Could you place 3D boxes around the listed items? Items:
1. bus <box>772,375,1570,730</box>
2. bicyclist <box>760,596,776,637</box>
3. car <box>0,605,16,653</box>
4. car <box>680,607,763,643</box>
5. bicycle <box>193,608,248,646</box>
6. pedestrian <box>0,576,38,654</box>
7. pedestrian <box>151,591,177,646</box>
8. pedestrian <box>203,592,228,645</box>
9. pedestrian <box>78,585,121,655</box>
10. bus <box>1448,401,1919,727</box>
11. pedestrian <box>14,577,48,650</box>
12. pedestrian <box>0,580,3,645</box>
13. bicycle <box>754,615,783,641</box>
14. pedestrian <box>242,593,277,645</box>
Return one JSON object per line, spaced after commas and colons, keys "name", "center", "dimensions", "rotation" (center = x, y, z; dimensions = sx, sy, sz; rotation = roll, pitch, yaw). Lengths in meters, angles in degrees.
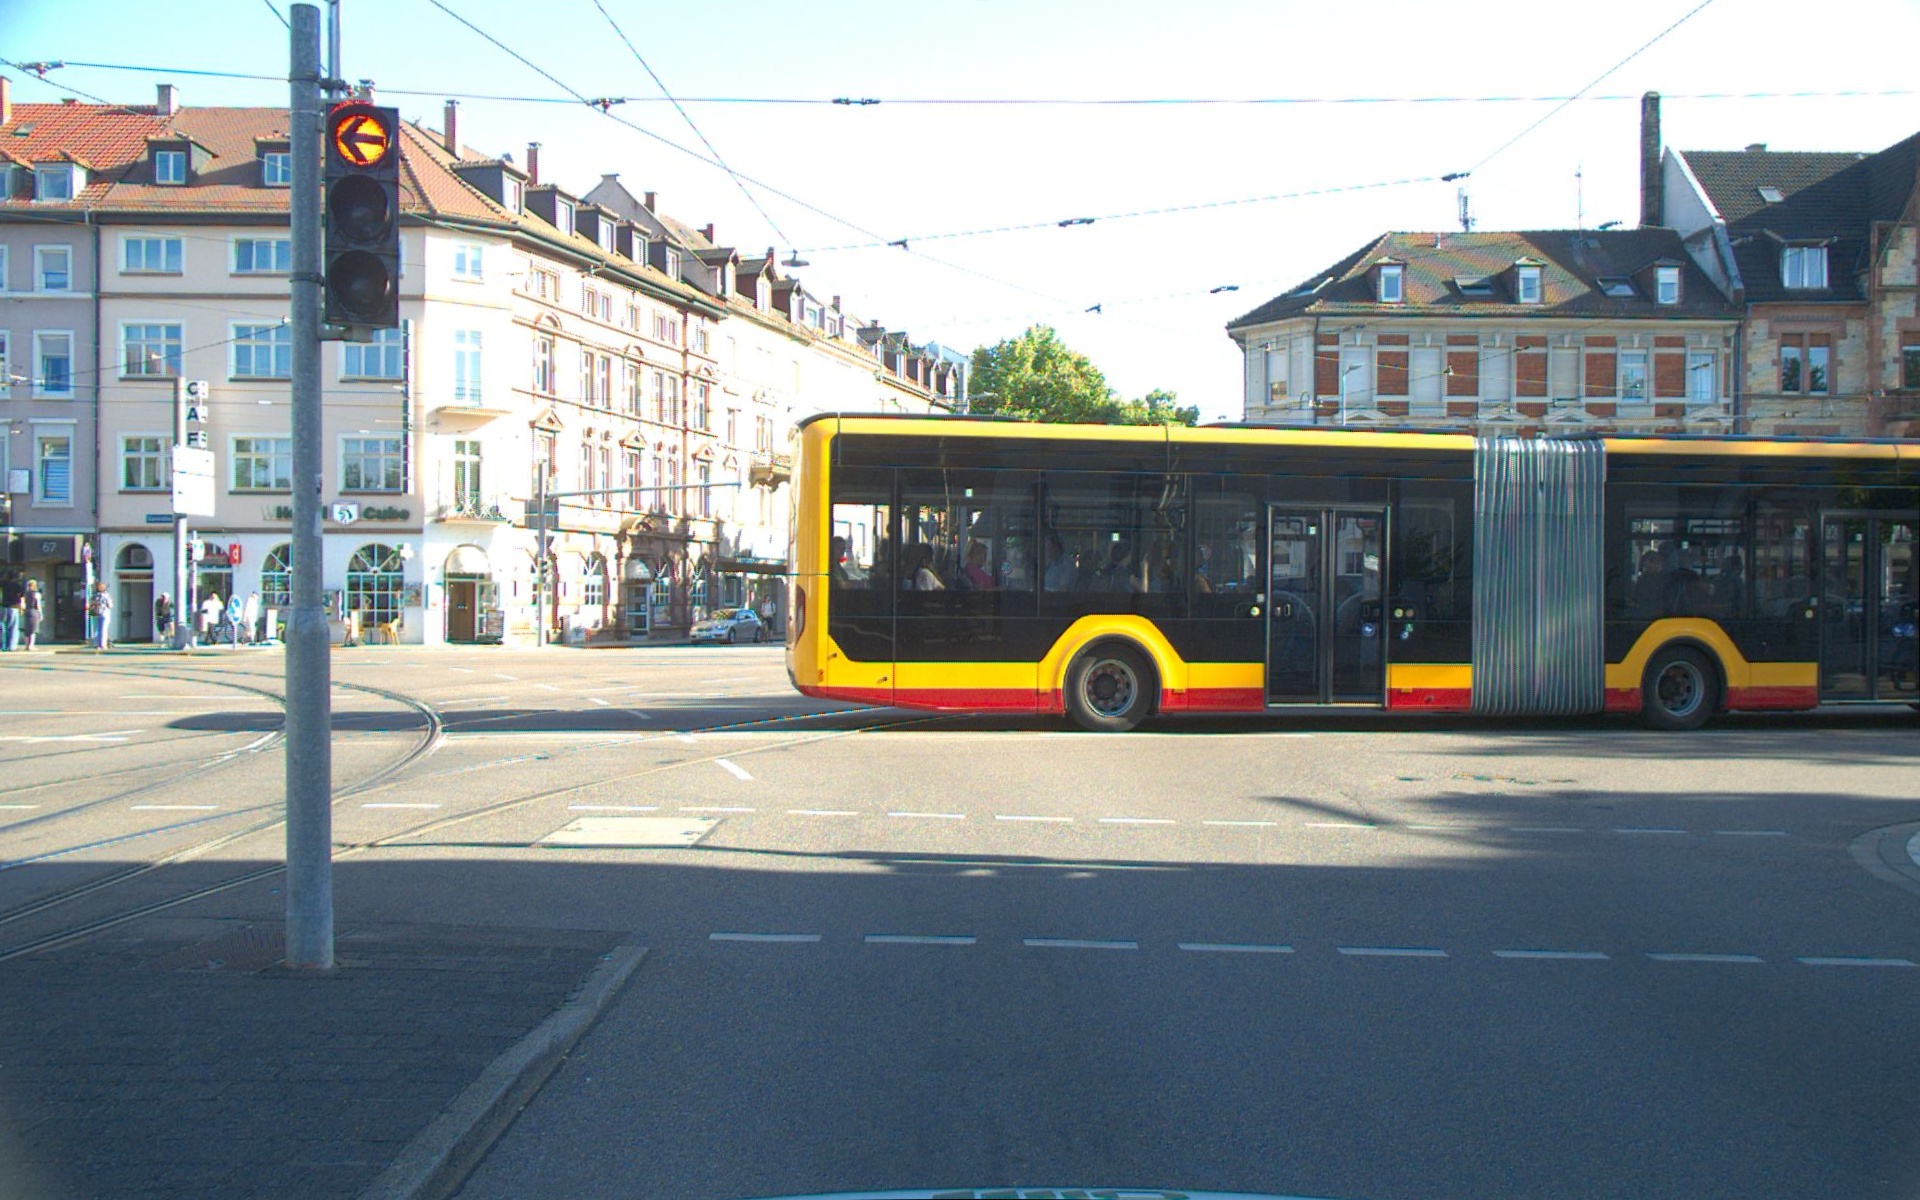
{"name": "bus", "center": [2.201, -0.450, 18.654], "dimensions": [8.454, 3.517, 2.782], "rotation": [1, 1, -9]}
{"name": "bicyclist", "center": [-7.545, 0.644, 65.065], "dimensions": [0.479, 1.629, 0.667], "rotation": [0, 0, 9]}
{"name": "car", "center": [-32.131, 0.894, 52.155], "dimensions": [3.651, 1.517, 1.818], "rotation": [1, 0, 2]}
{"name": "car", "center": [-9.597, 0.975, 66.879], "dimensions": [1.951, 1.385, 3.821], "rotation": [0, 0, 15]}
{"name": "bicycle", "center": [-25.144, 0.916, 56.261], "dimensions": [1.684, 1.299, 0.385], "rotation": [0, 0, -18]}
{"name": "pedestrian", "center": [-22.874, 0.355, 39.978], "dimensions": [0.751, 1.861, 0.722], "rotation": [0, 0, -1]}
{"name": "pedestrian", "center": [-24.951, 0.576, 51.833], "dimensions": [0.731, 1.711, 0.623], "rotation": [0, 0, -26]}
{"name": "pedestrian", "center": [-24.235, 0.596, 53.852], "dimensions": [0.731, 1.711, 0.623], "rotation": [0, 0, -26]}
{"name": "pedestrian", "center": [-21.409, 0.492, 41.162], "dimensions": [0.725, 1.711, 0.628], "rotation": [0, 0, -1]}
{"name": "bus", "center": [10.893, -0.348, 20.026], "dimensions": [9.237, 3.517, 2.775], "rotation": [1, 1, -9]}
{"name": "pedestrian", "center": [-23.008, 0.331, 40.987], "dimensions": [0.549, 1.817, 0.559], "rotation": [0, 0, -6]}
{"name": "pedestrian", "center": [-24.295, 0.309, 41.124], "dimensions": [0.685, 1.609, 0.559], "rotation": [0, 0, -6]}
{"name": "bicycle", "center": [-7.554, 1.089, 65.165], "dimensions": [0.641, 1.018, 1.666], "rotation": [1, 0, 11]}
{"name": "pedestrian", "center": [-23.095, 0.622, 54.541], "dimensions": [0.891, 1.711, 0.742], "rotation": [0, 0, -7]}
